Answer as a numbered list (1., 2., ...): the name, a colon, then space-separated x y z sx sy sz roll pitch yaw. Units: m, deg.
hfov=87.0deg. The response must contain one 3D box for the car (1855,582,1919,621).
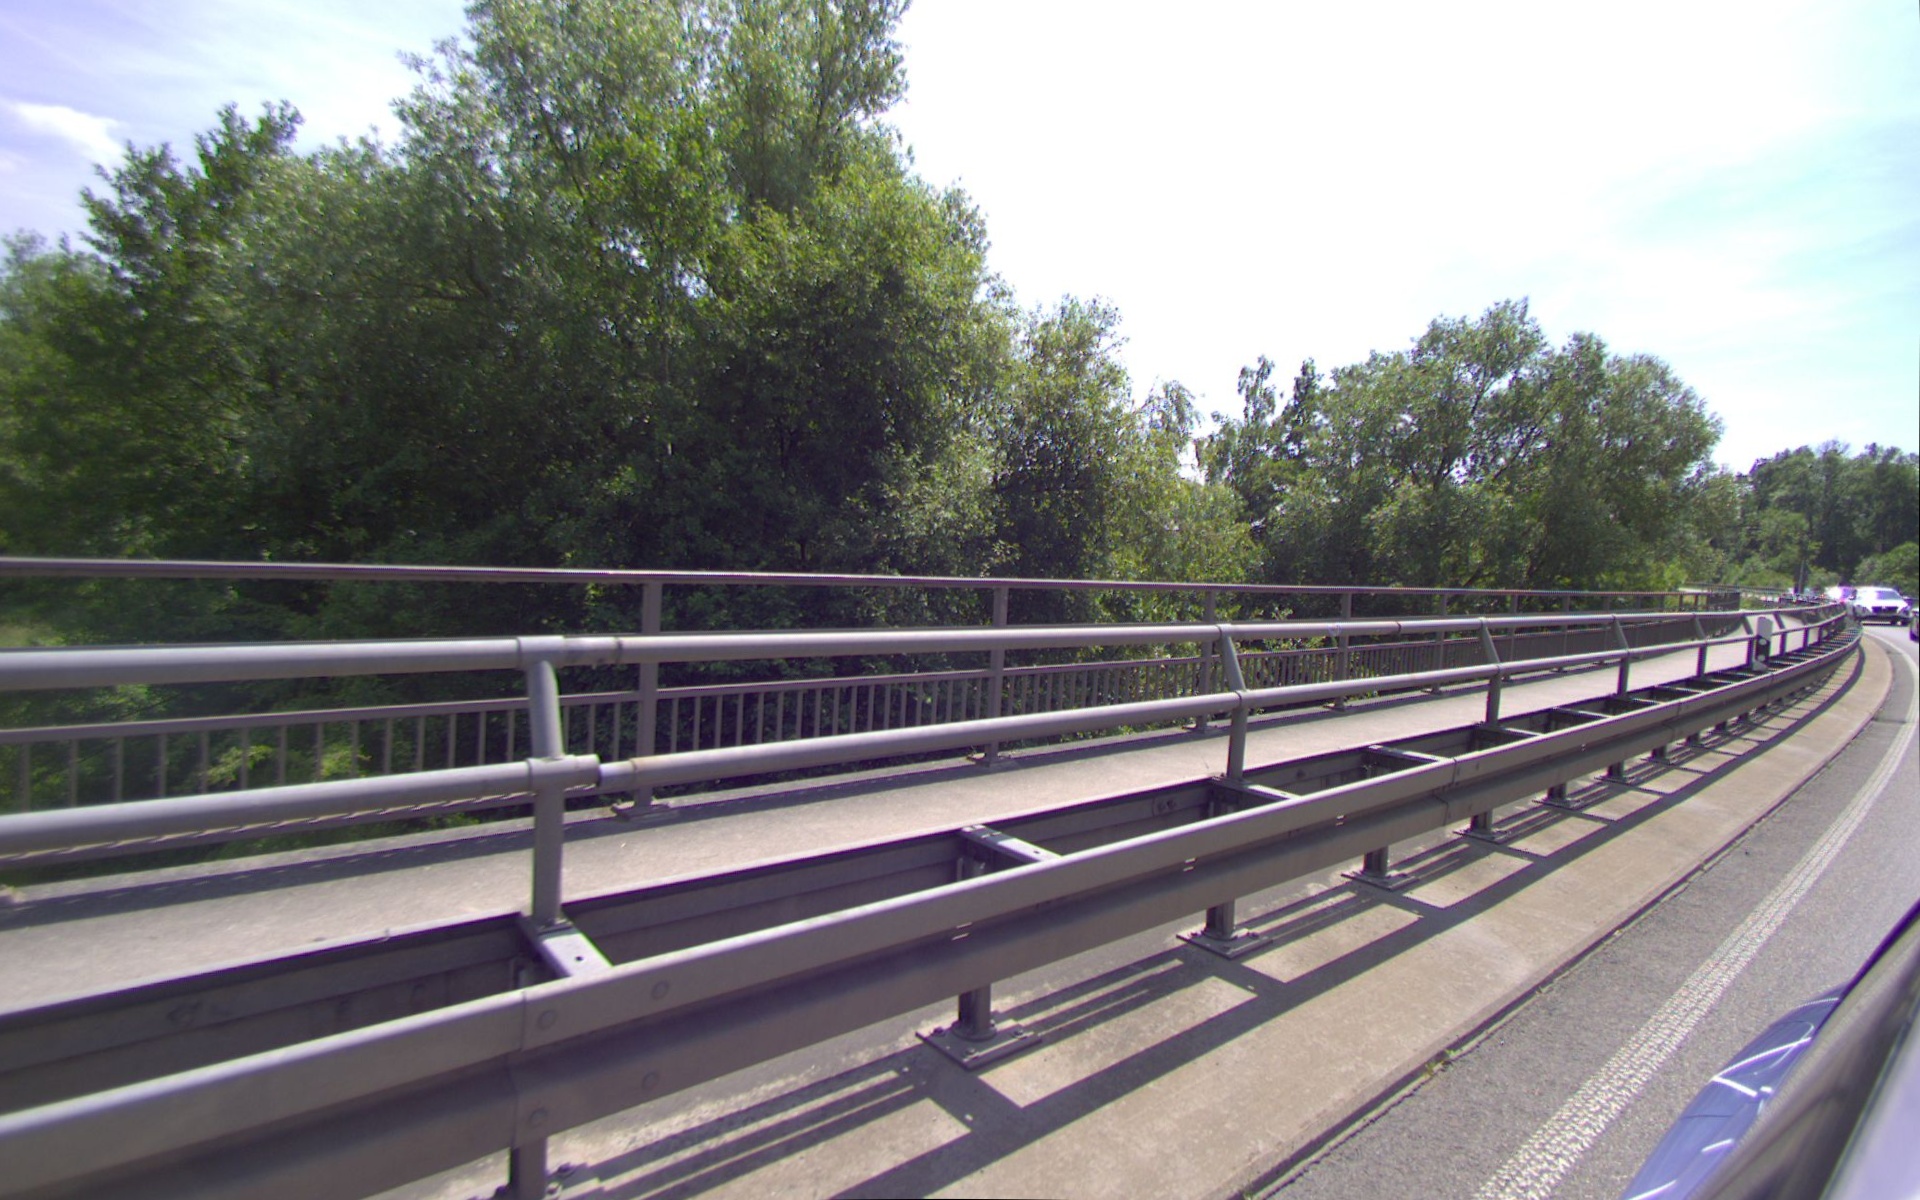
1. car: 41.749 0.047 45.450 1.899 1.668 3.900 0 1 36

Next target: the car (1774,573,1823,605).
1. car: 55.392 -0.746 66.930 1.985 2.039 3.953 0 1 33

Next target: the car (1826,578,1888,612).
1. car: 48.439 -0.290 54.708 1.987 1.798 3.951 0 1 34
